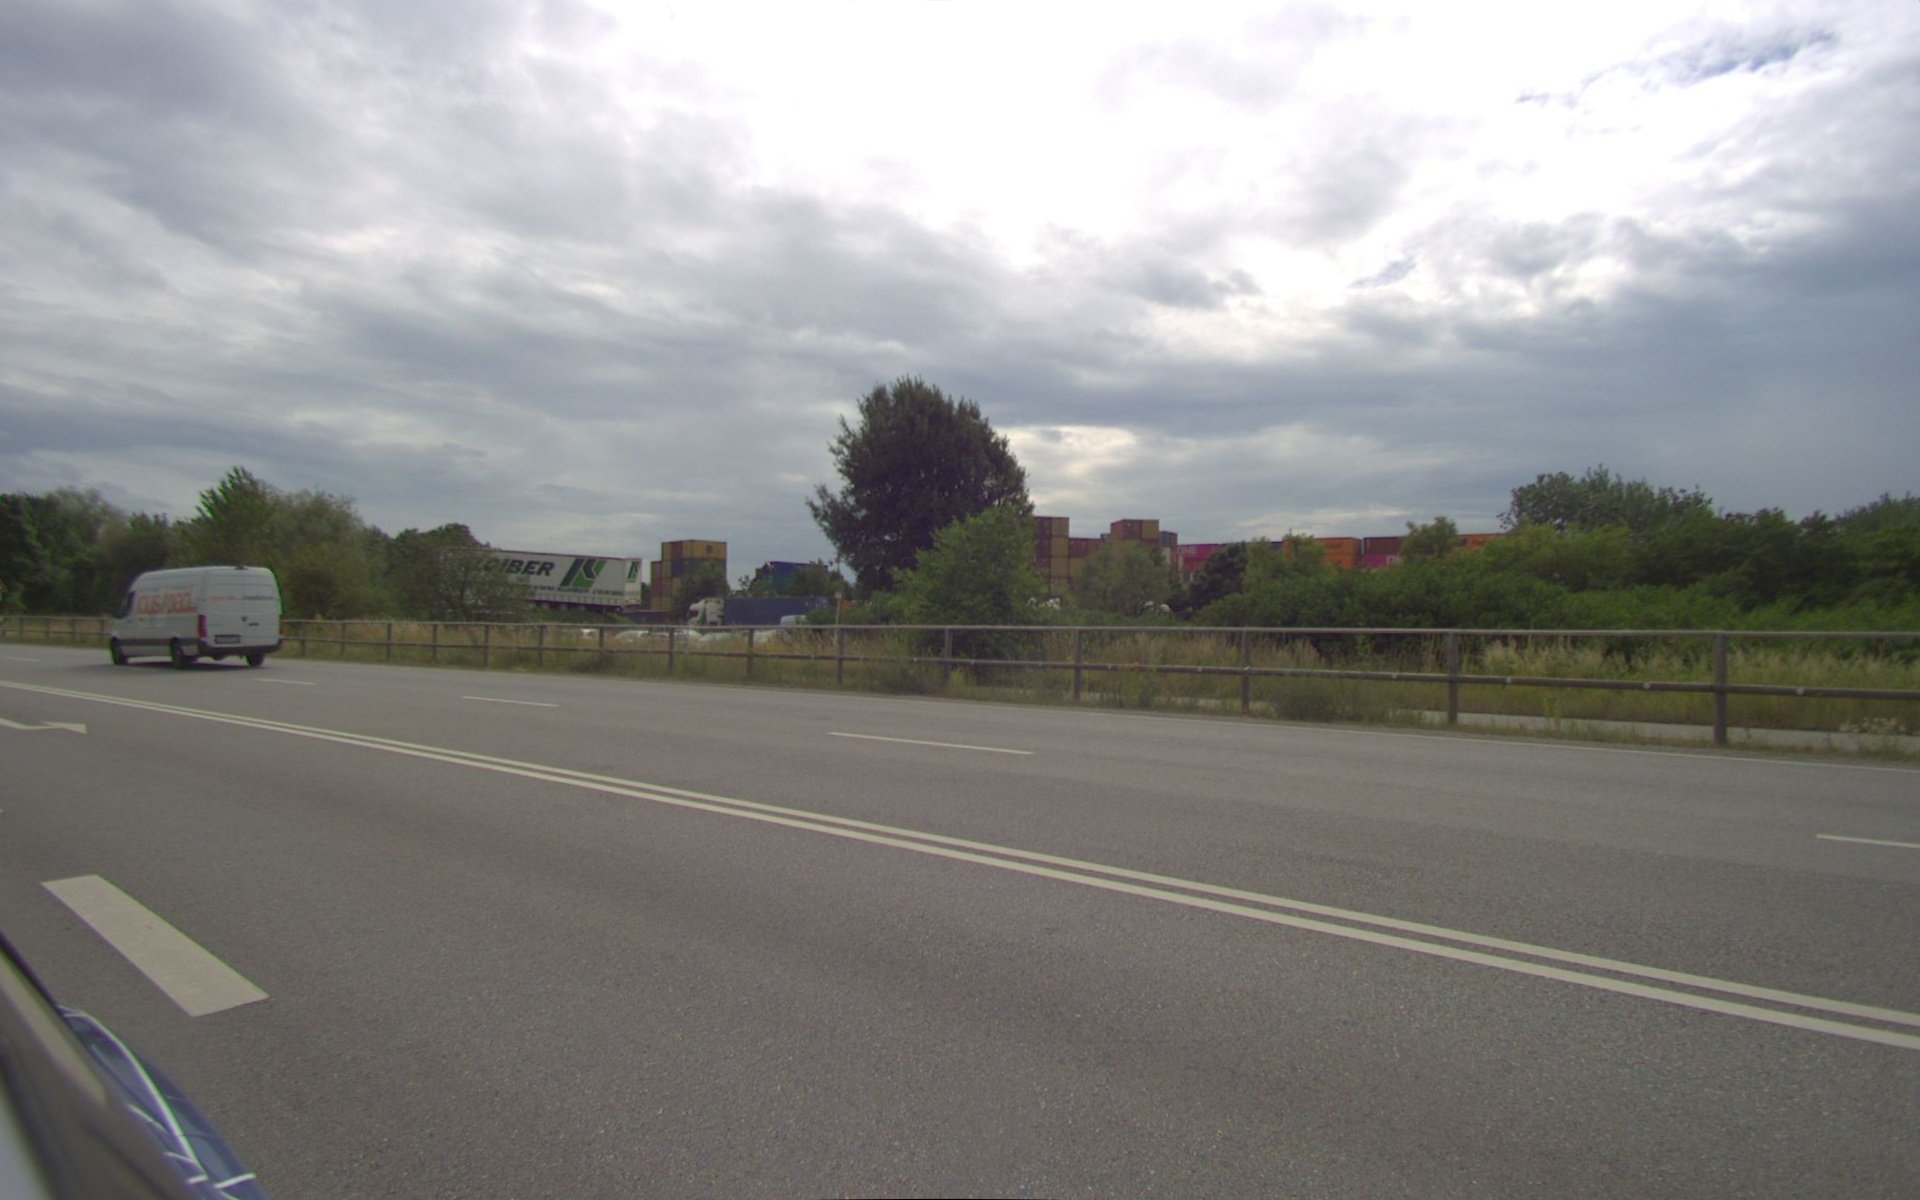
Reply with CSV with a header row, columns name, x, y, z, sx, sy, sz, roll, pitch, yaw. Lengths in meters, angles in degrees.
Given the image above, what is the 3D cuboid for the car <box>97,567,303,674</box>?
name,x,y,z,sx,sy,sz,roll,pitch,yaw
car,-21.313,0.569,28.260,6.867,2.695,2.414,-1,-1,33

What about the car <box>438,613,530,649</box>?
name,x,y,z,sx,sy,sz,roll,pitch,yaw
car,-26.888,1.716,57.170,4.469,1.890,2.006,0,0,-33

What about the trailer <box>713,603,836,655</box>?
name,x,y,z,sx,sy,sz,roll,pitch,yaw
trailer,-16.015,2.489,87.281,10.330,4.325,3.219,-1,-1,21

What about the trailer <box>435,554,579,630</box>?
name,x,y,z,sx,sy,sz,roll,pitch,yaw
trailer,-31.076,-0.521,69.548,8.877,5.034,2.801,0,0,7

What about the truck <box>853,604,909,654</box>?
name,x,y,z,sx,sy,sz,roll,pitch,yaw
truck,-7.039,2.543,89.712,4.776,4.325,2.203,0,-1,-9

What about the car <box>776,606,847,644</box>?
name,x,y,z,sx,sy,sz,roll,pitch,yaw
car,-7.258,1.197,49.933,1.980,1.747,4.567,-1,0,12

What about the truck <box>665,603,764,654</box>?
name,x,y,z,sx,sy,sz,roll,pitch,yaw
truck,-21.728,2.487,89.524,8.259,4.325,3.219,-1,-1,21

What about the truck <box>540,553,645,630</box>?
name,x,y,z,sx,sy,sz,roll,pitch,yaw
truck,-24.916,-0.558,68.733,6.116,5.034,2.798,0,0,7
